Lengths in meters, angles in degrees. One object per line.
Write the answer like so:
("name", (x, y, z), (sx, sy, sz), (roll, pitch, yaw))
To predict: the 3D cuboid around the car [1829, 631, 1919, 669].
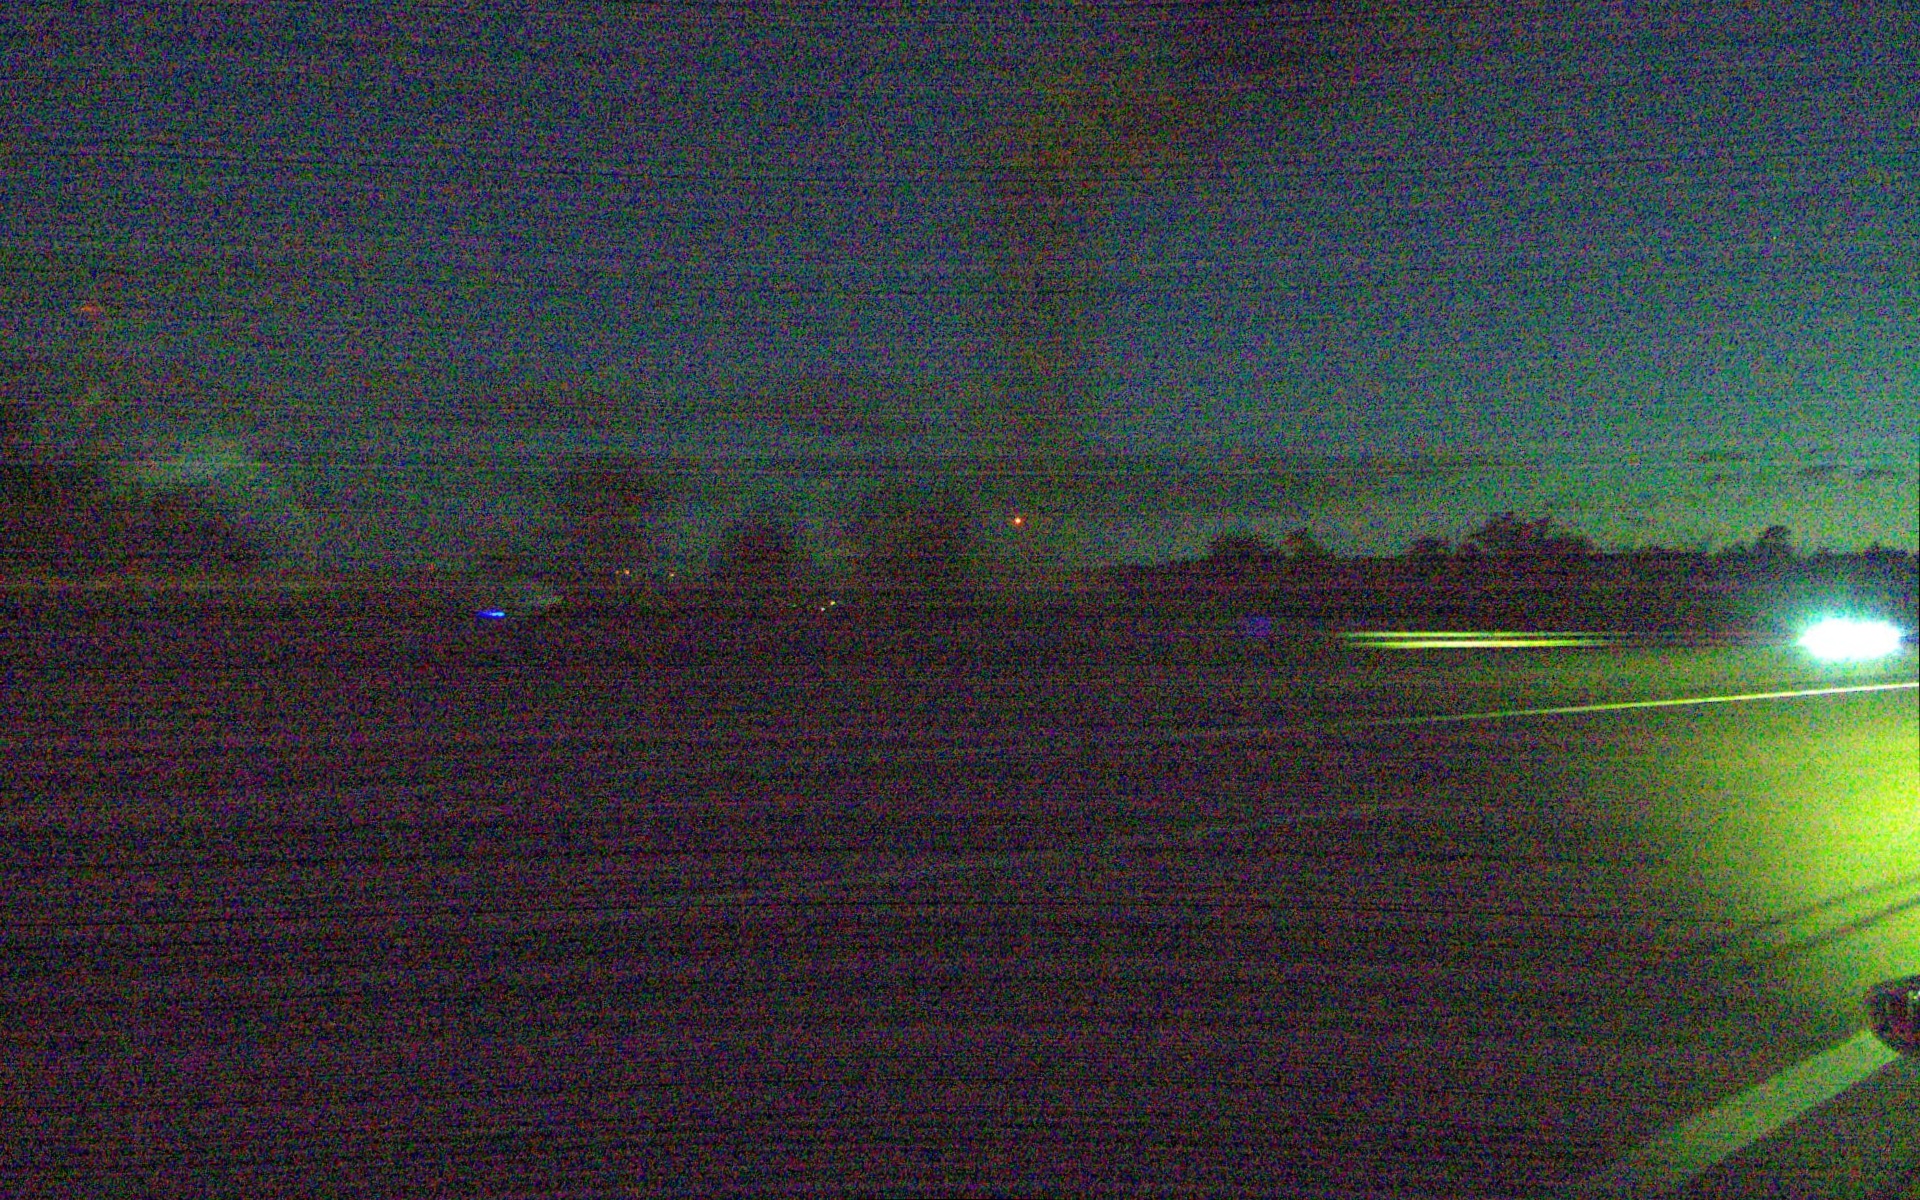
("car", (45.494, 2.456, 49.957), (5.014, 1.768, 1.983), (1, 0, -31))
